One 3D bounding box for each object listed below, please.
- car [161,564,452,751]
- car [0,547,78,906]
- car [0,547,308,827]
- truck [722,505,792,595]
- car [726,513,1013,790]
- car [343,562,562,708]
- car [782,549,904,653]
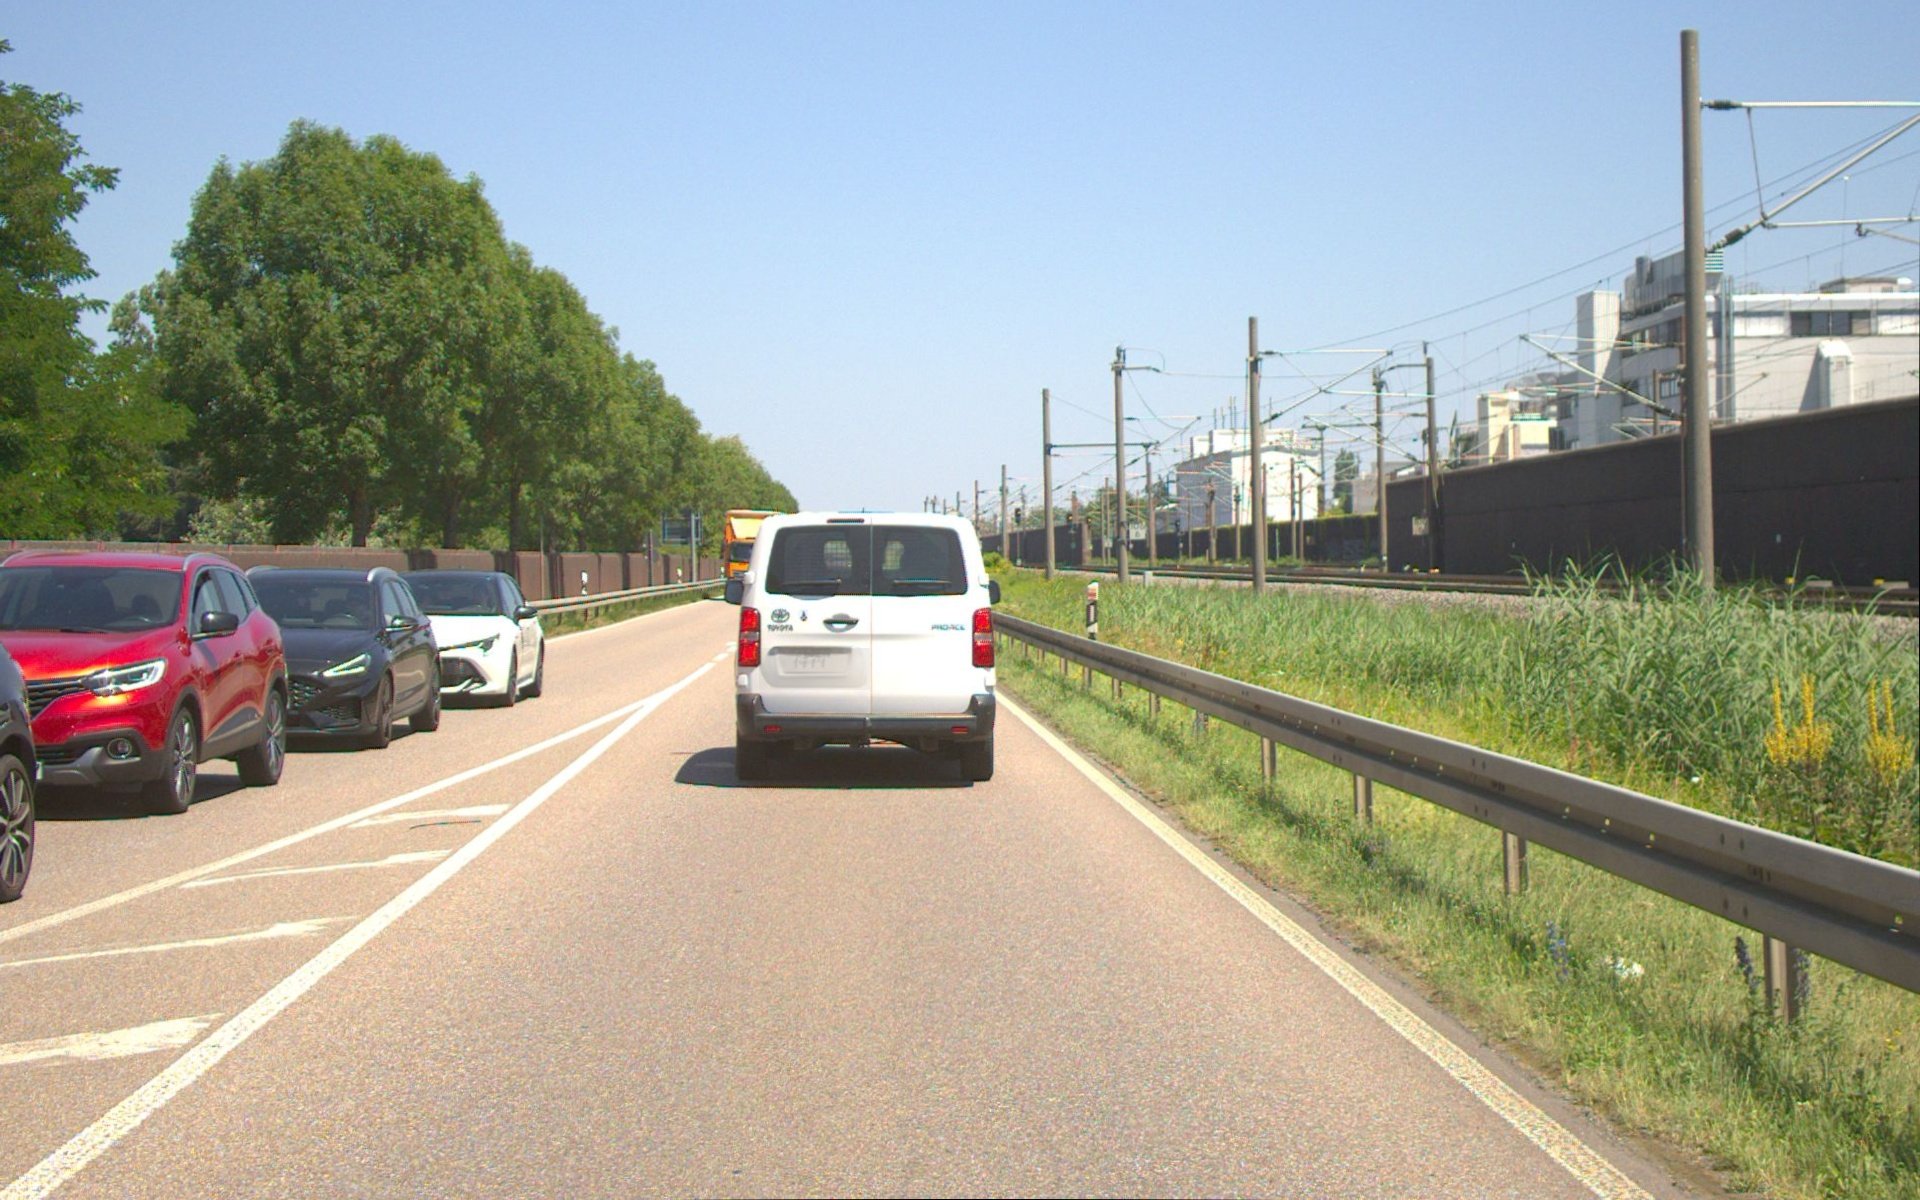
[{"bbox_3d":[-5.505,0.430,29.482,1.685,1.455,4.616,1,1,-1],"label":"car"},{"bbox_3d":[-5.124,0.568,14.109,1.716,1.584,4.534,1,1,2],"label":"car"},{"bbox_3d":[-5.564,0.477,22.323,1.755,1.626,4.279,1,1,1],"label":"car"},{"bbox_3d":[-8.921,-2.192,151.693,2.792,3.827,9.325,0,0,-2],"label":"truck"},{"bbox_3d":[-0.699,0.340,25.881,1.945,1.875,4.881,0,0,-2],"label":"car"},{"bbox_3d":[-5.418,0.336,37.217,1.685,1.455,4.616,1,1,0],"label":"car"},{"bbox_3d":[-1.978,-0.006,57.049,1.905,1.644,4.142,1,1,-3],"label":"car"}]
